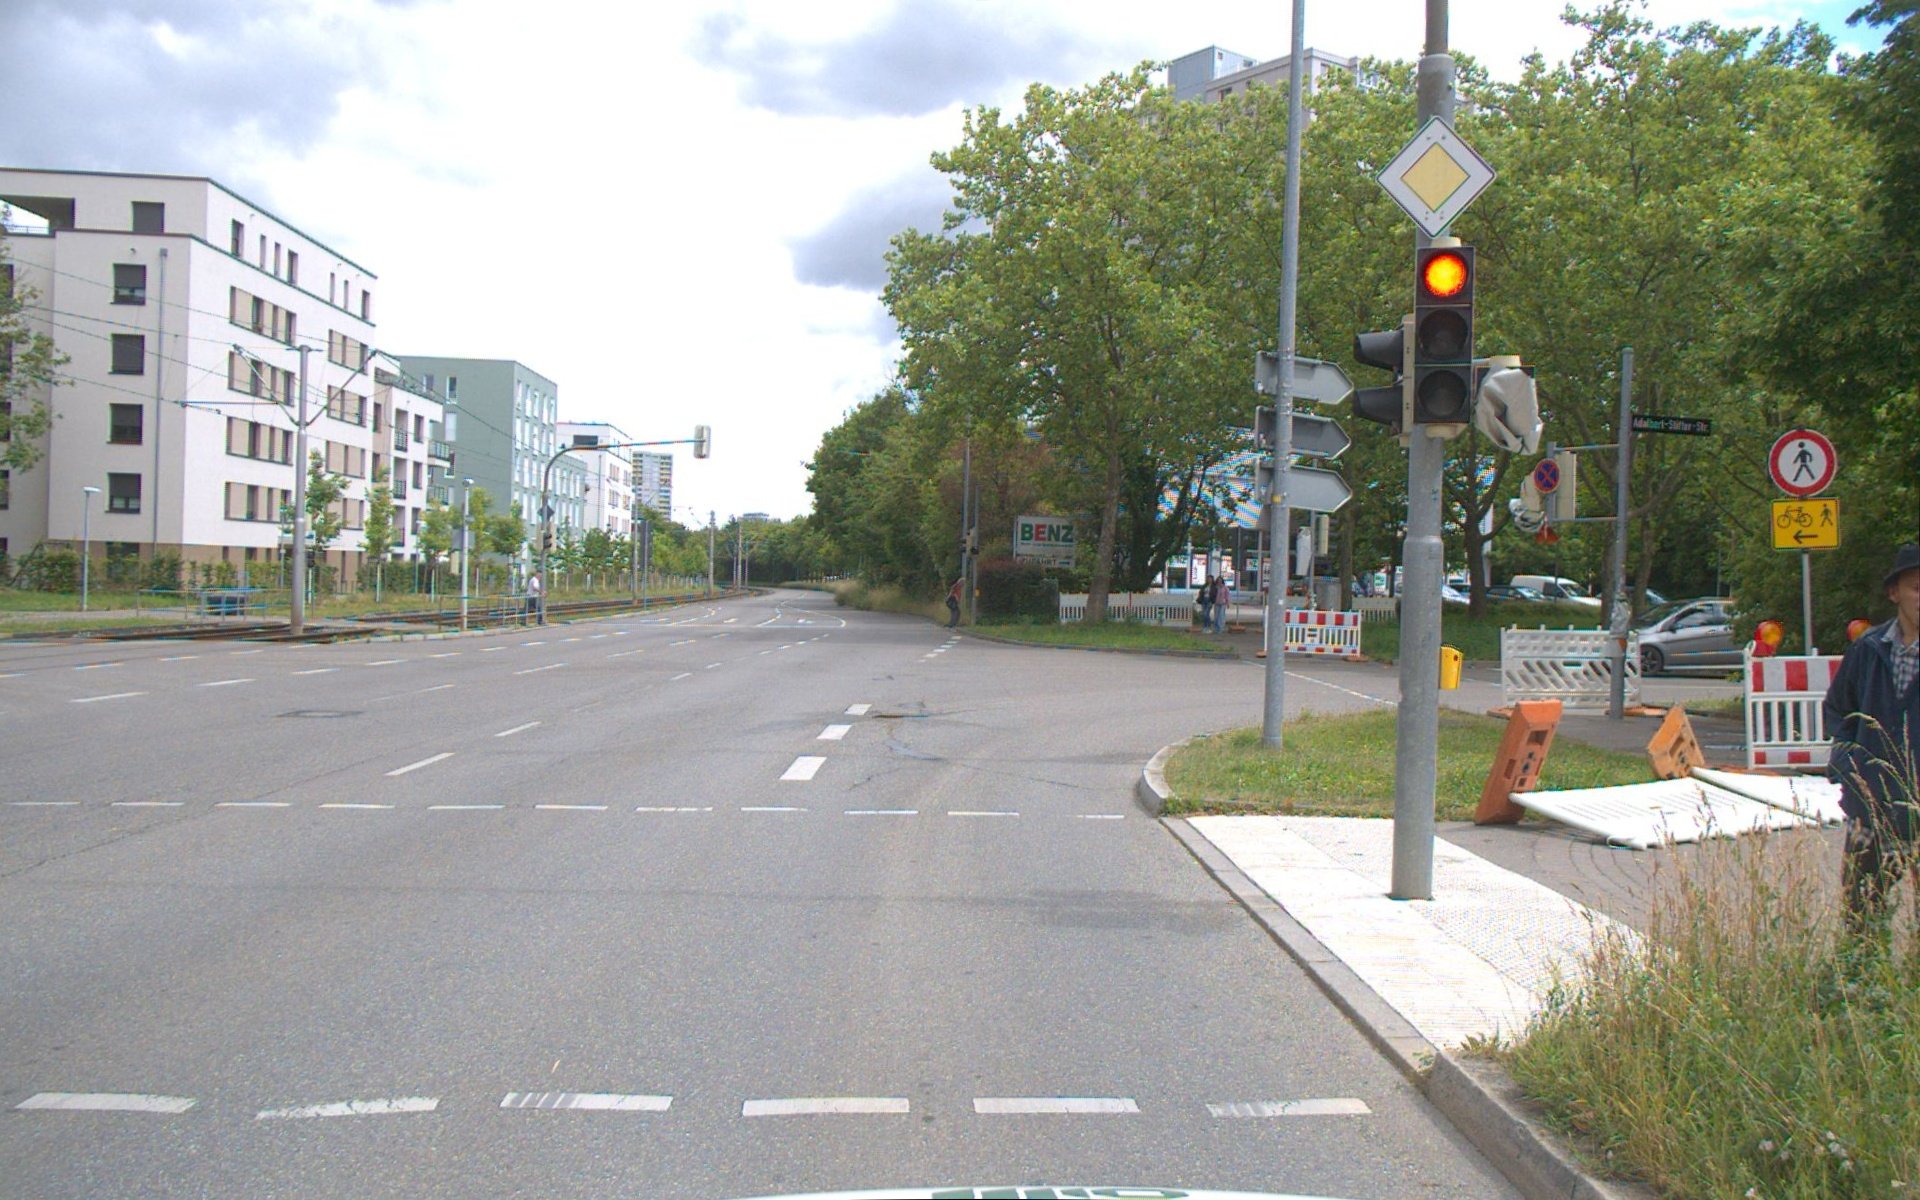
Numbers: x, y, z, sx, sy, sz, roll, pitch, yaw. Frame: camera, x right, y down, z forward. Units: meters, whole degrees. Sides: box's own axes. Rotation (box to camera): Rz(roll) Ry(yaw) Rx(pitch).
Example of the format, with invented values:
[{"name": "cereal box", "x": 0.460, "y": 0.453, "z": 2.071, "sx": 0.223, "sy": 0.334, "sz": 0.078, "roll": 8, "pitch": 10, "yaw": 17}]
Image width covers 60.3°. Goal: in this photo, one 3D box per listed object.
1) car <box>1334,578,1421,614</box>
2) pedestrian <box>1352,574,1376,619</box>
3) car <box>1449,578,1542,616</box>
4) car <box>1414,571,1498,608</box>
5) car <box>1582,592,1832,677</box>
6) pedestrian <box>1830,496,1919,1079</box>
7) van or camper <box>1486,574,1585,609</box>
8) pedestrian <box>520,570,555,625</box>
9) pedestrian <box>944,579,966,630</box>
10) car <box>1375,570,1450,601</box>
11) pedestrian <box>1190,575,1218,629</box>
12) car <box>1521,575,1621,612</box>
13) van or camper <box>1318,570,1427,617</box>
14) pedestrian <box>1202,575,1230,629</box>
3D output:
[{"name": "car", "x": 17.812, "y": -0.155, "z": 70.596, "sx": 3.345, "sy": 1.471, "sz": 1.477, "roll": 1, "pitch": 0, "yaw": -19}, {"name": "pedestrian", "x": 18.508, "y": -0.161, "z": 75.801, "sx": 0.789, "sy": 2.037, "sz": 0.852, "roll": 1, "pitch": -1, "yaw": -5}, {"name": "car", "x": 21.095, "y": -0.124, "z": 65.250, "sx": 1.464, "sy": 1.429, "sz": 3.375, "roll": 1, "pitch": 0, "yaw": -30}, {"name": "car", "x": 24.052, "y": -0.505, "z": 80.248, "sx": 1.650, "sy": 1.663, "sz": 3.783, "roll": 1, "pitch": 1, "yaw": -30}, {"name": "car", "x": 15.165, "y": 0.684, "z": 33.731, "sx": 4.307, "sy": 1.614, "sz": 1.772, "roll": 1, "pitch": 0, "yaw": 0}, {"name": "pedestrian", "x": 3.252, "y": 0.571, "z": 5.387, "sx": 0.712, "sy": 1.770, "sz": 0.954, "roll": 1, "pitch": 0, "yaw": 28}, {"name": "van or camper", "x": 23.593, "y": -0.345, "z": 67.880, "sx": 1.499, "sy": 1.380, "sz": 3.732, "roll": 1, "pitch": 0, "yaw": -33}, {"name": "pedestrian", "x": -12.762, "y": -0.075, "z": 49.947, "sx": 0.831, "sy": 1.614, "sz": 0.796, "roll": 1, "pitch": -1, "yaw": -3}, {"name": "pedestrian", "x": -0.162, "y": 0.142, "z": 51.904, "sx": 0.640, "sy": 1.565, "sz": 0.772, "roll": 1, "pitch": -1, "yaw": -1}, {"name": "car", "x": 21.467, "y": -0.693, "z": 78.550, "sx": 1.465, "sy": 1.429, "sz": 3.372, "roll": 1, "pitch": 0, "yaw": -31}, {"name": "pedestrian", "x": 6.908, "y": 0.059, "z": 46.920, "sx": 0.703, "sy": 1.515, "sz": 0.700, "roll": 1, "pitch": -1, "yaw": 3}, {"name": "car", "x": 25.540, "y": -0.255, "z": 69.246, "sx": 1.465, "sy": 1.491, "sz": 3.851, "roll": 1, "pitch": 0, "yaw": -31}, {"name": "van or camper", "x": 15.488, "y": -0.260, "z": 62.230, "sx": 1.819, "sy": 1.713, "sz": 3.964, "roll": 0, "pitch": 1, "yaw": -28}, {"name": "pedestrian", "x": 7.382, "y": 0.060, "z": 47.598, "sx": 0.671, "sy": 1.515, "sz": 0.700, "roll": 1, "pitch": -1, "yaw": 19}]
